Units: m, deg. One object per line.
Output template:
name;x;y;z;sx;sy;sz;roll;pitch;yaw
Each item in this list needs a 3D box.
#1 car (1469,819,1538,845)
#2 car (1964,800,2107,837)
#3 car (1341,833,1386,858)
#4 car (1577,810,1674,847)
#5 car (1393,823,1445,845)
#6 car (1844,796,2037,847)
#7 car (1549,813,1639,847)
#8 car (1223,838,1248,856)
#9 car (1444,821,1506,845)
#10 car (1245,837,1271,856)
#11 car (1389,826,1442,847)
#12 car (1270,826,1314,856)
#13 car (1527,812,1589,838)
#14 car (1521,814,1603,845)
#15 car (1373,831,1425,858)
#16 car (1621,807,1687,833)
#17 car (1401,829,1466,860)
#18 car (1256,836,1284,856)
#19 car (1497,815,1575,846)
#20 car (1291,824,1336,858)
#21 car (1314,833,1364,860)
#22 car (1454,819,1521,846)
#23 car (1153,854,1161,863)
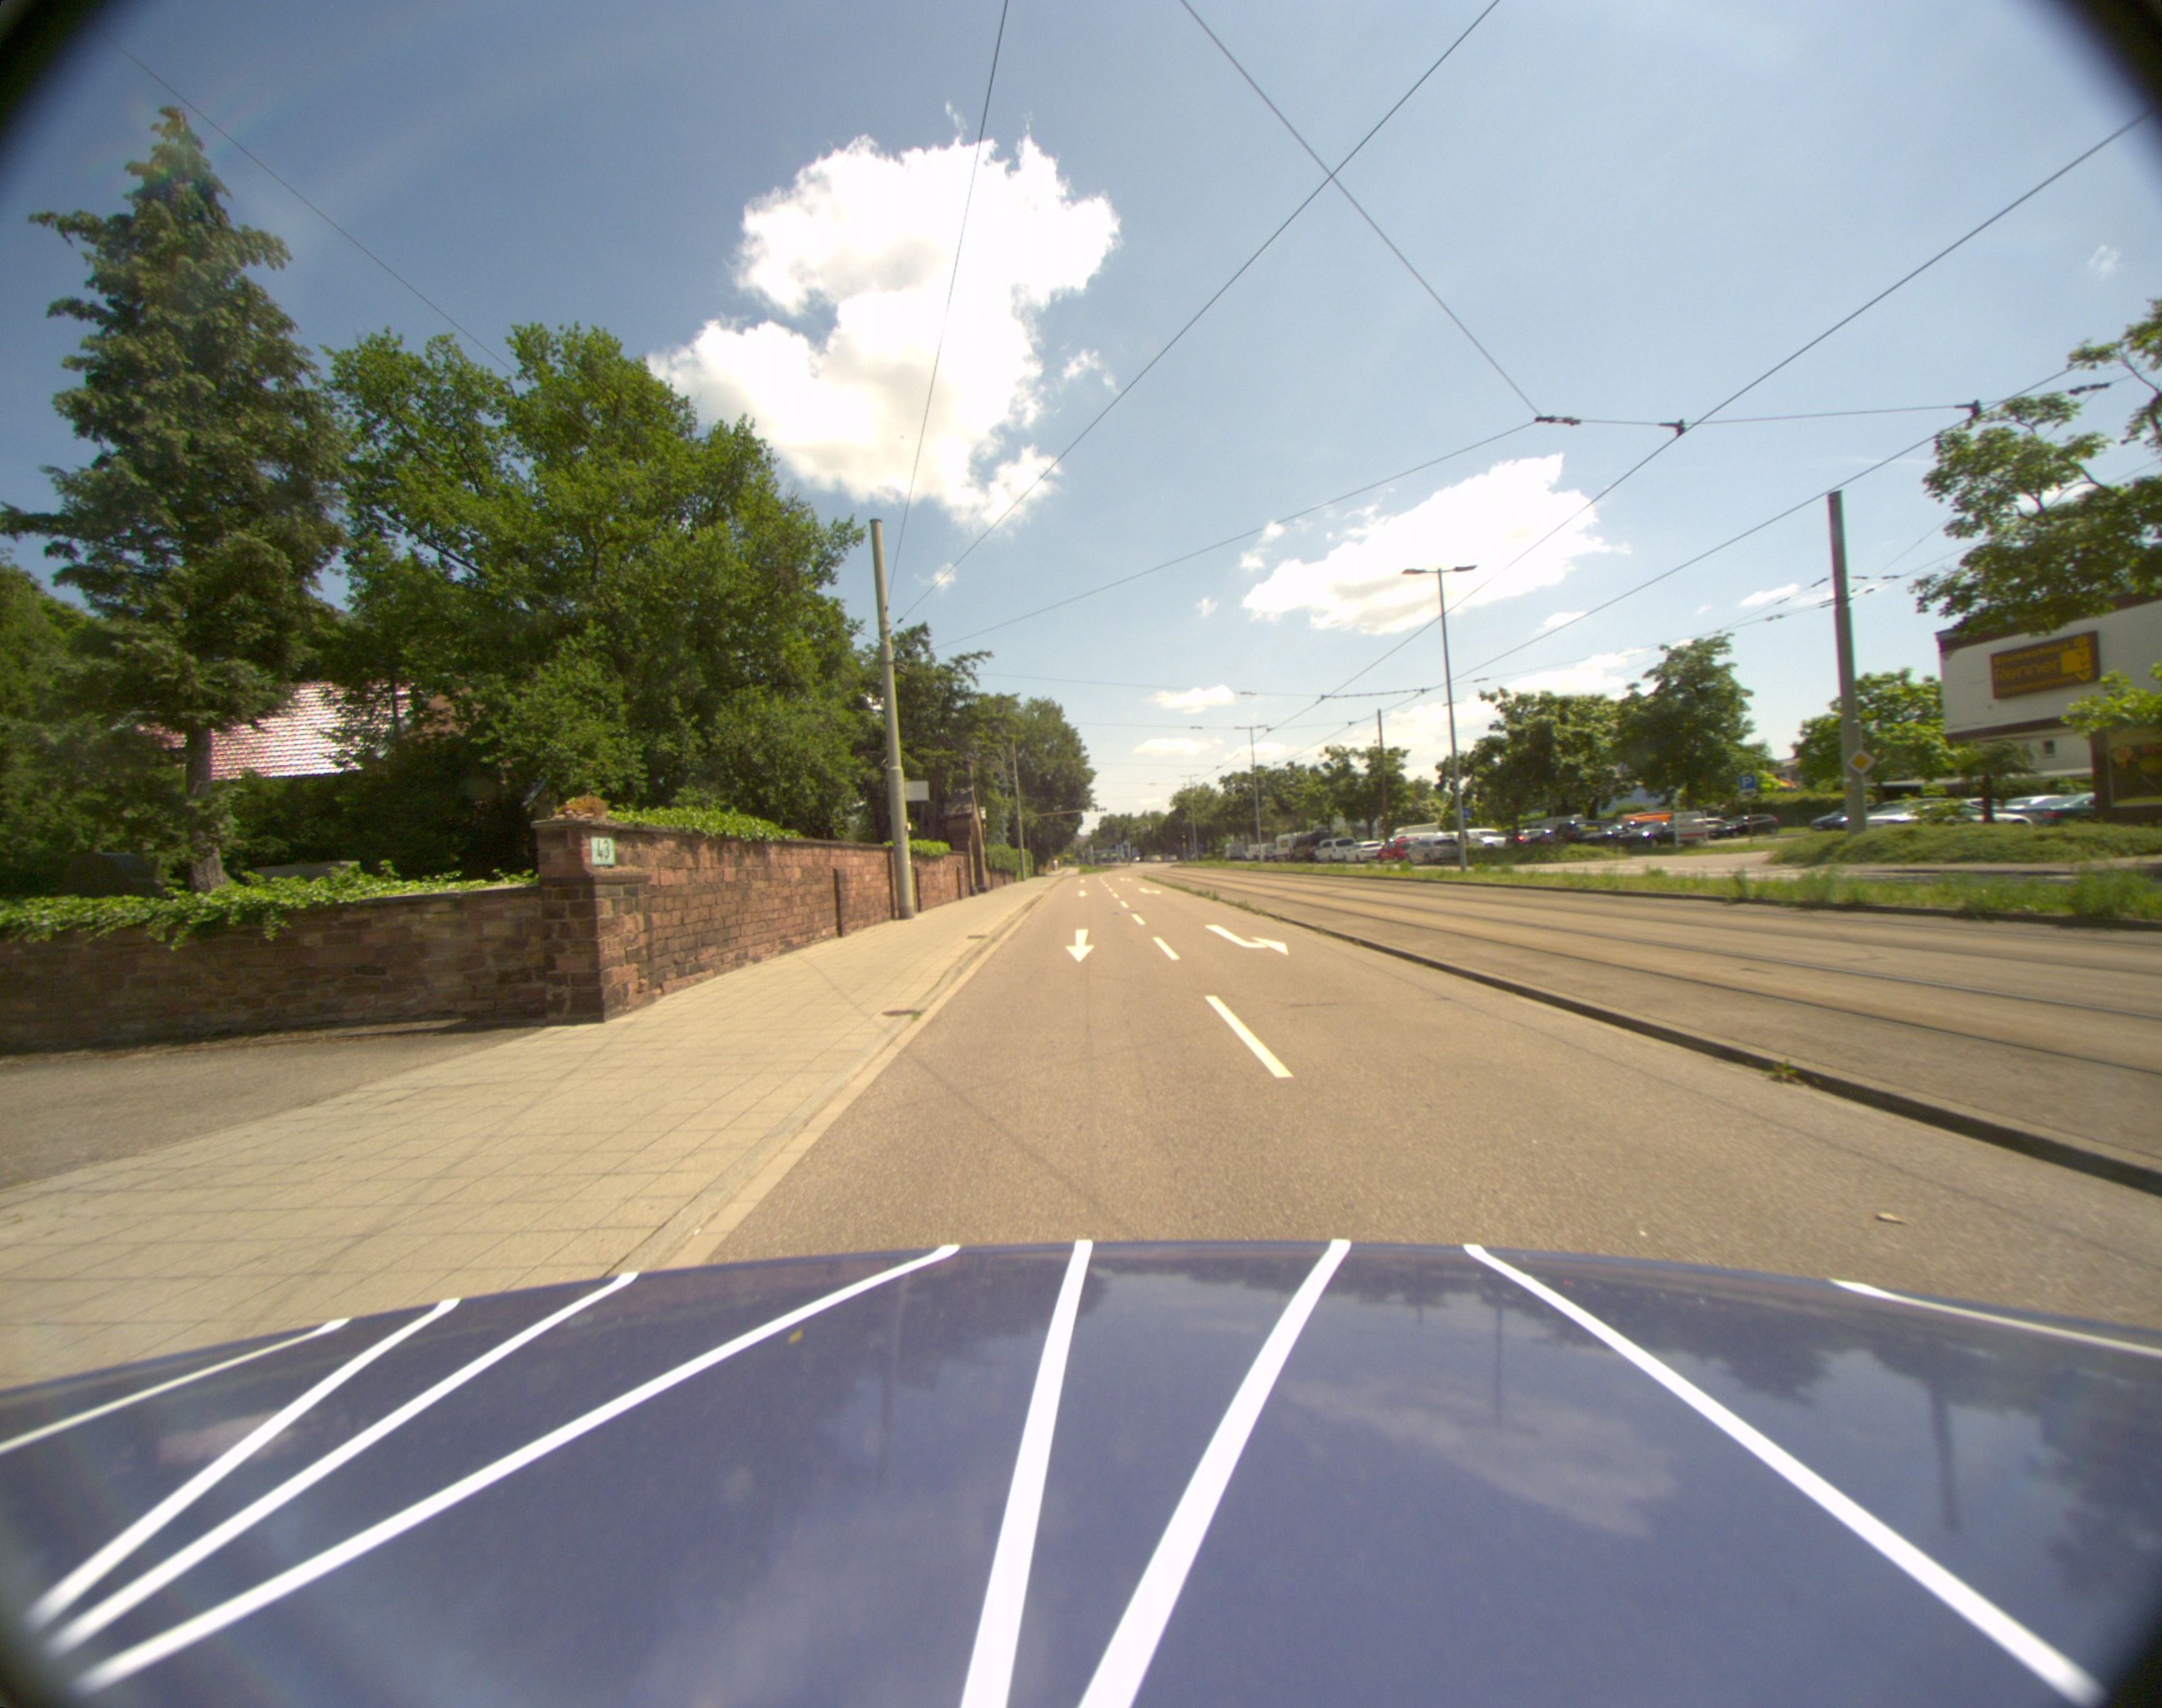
car;30.986;-1.611;55.778;3.997;1.726;1.803;-2;1;1
car;43.760;-1.605;34.911;3.996;1.393;1.907;-4;0;3
car;19.788;-0.597;53.330;1.503;1.531;4.359;-6;1;2
car;30.393;-1.395;42.481;3.997;1.726;1.803;-4;0;1
car;44.609;-2.643;100.341;5.698;2.467;2.259;-4;0;-2
car;30.469;-1.134;27.051;4.484;1.426;1.907;-4;0;3
car;30.524;-1.406;45.282;3.997;1.726;1.879;-4;0;1
car;20.638;-0.919;101.765;2.071;2.089;4.488;-6;1;-1
car;31.571;-1.662;61.016;3.997;1.726;1.803;-2;1;1
car;20.782;-0.868;89.502;1.795;1.927;4.488;-6;1;-1
car;31.788;-1.657;72.318;4.199;1.726;1.803;-2;1;1
car;20.470;-1.211;74.085;2.156;2.596;6.703;-6;1;-1
car;44.516;-2.693;70.985;4.652;2.212;1.851;-2;1;-2
car;30.074;-1.499;47.584;3.997;1.726;1.803;-2;1;1
car;20.276;-0.578;48.634;1.503;1.531;3.648;-6;1;-3
car;43.625;-2.578;57.868;3.745;1.726;1.760;-2;1;-2
car;20.099;-0.523;43.520;1.580;1.531;4.550;-6;1;1
car;20.552;-0.871;82.801;1.794;1.927;4.648;-6;1;1
car;30.064;-1.546;50.267;3.997;1.726;1.803;-4;0;1
car;20.100;-1.104;65.845;2.156;2.596;5.033;-6;1;1
car;20.265;-0.594;59.858;2.156;1.827;4.888;-6;1;1
car;31.223;-1.651;58.437;3.997;1.726;1.903;-4;0;1
car;16.286;0.931;163.410;1.681;1.680;3.546;-2;1;6
